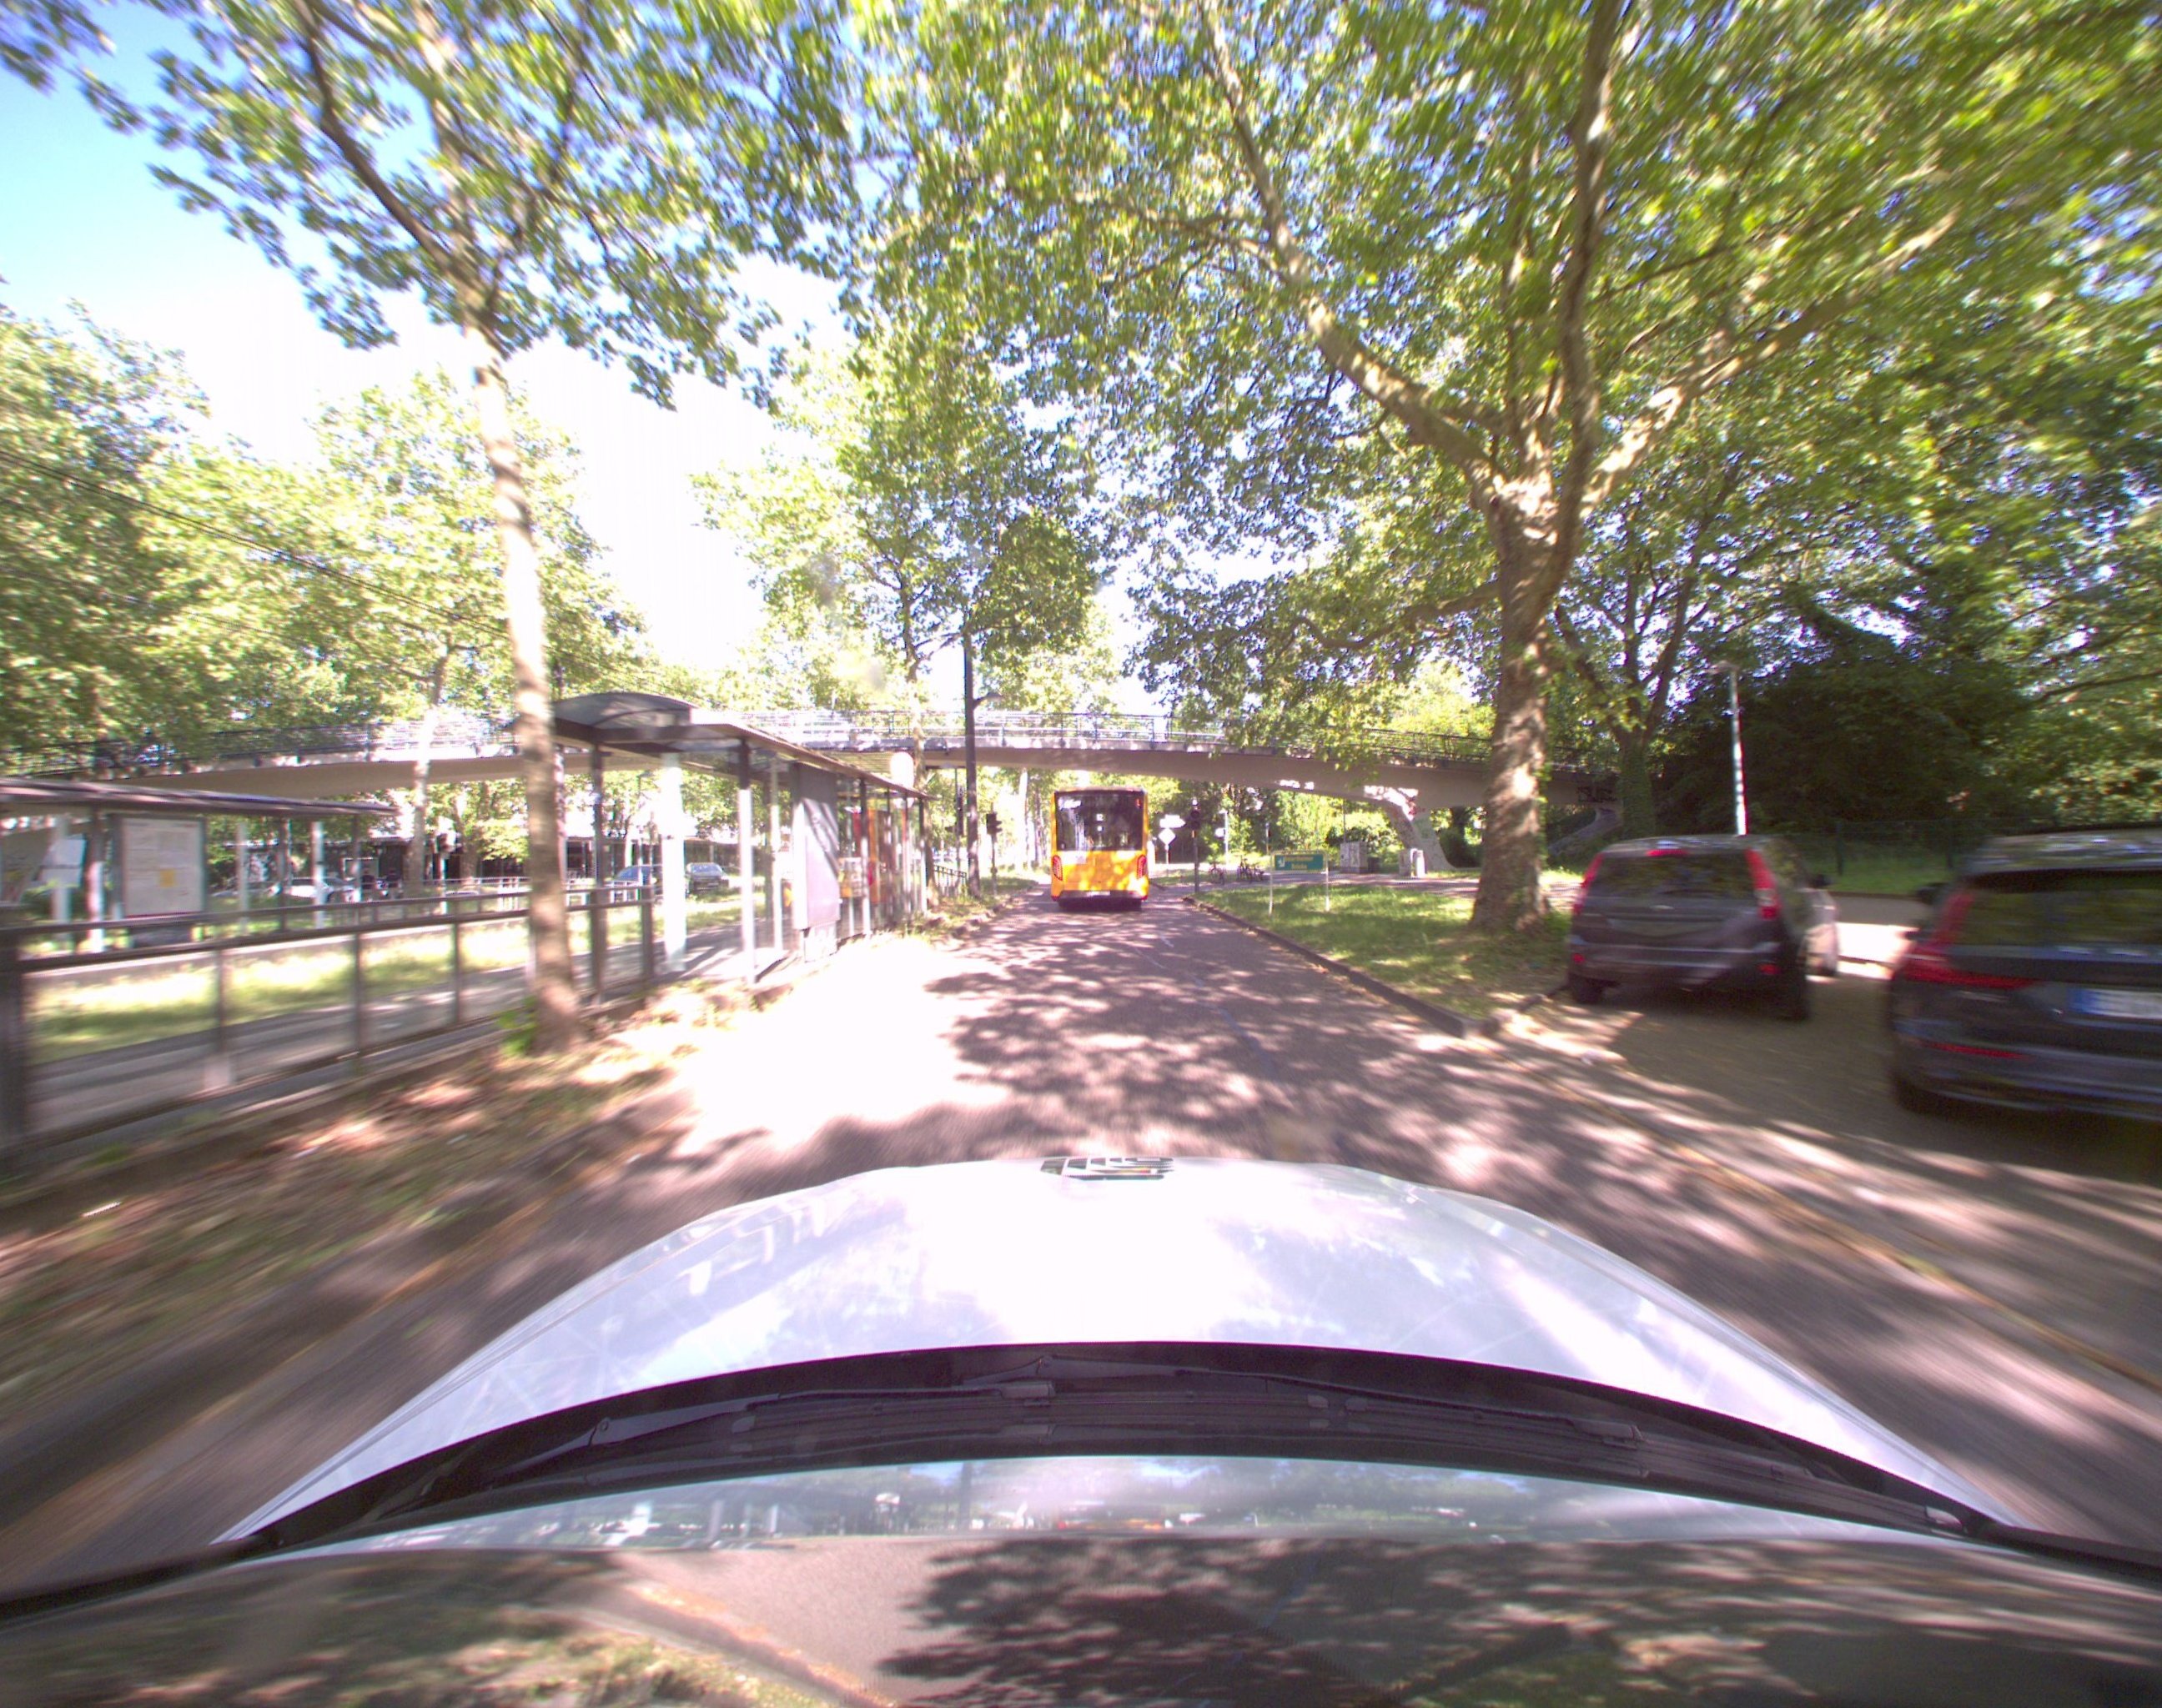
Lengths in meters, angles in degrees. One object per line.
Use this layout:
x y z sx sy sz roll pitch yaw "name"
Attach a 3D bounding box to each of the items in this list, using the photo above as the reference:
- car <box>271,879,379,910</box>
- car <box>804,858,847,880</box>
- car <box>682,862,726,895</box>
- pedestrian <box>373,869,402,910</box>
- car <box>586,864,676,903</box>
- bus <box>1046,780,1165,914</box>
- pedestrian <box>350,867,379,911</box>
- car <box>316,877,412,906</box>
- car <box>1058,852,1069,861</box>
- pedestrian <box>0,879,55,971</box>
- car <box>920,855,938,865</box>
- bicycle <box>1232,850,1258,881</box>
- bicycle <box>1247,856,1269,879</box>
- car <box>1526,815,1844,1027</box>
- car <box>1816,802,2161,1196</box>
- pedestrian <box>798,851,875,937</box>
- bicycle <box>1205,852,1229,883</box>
-42.031 2.238 45.344 4.069 1.510 1.796 -2 0 -6 "car"
-19.381 1.105 61.975 1.788 1.580 4.289 -2 0 1 "car"
-19.721 1.238 42.504 1.805 1.566 4.248 -2 0 -28 "car"
-29.557 1.497 34.701 0.642 1.705 0.653 -2 0 21 "pedestrian"
-20.228 1.285 36.801 1.790 1.566 4.283 -2 0 -3 "car"
0.615 -0.191 26.549 2.890 3.266 12.216 -2 0 0 "bus"
-29.836 1.466 33.918 0.642 1.783 0.653 -2 0 21 "pedestrian"
-43.183 2.226 49.089 3.981 1.510 1.797 -2 0 -6 "car"
-3.391 0.492 158.400 1.979 1.643 4.136 1 1 2 "car"
-15.036 0.981 11.242 0.775 1.238 0.722 -1 0 -1 "pedestrian"
-24.036 0.959 128.776 1.786 1.510 4.004 -2 0 4 "car"
6.703 0.445 33.325 0.588 1.182 1.800 -5 1 0 "bicycle"
7.279 0.556 33.517 0.503 0.852 1.473 -5 1 0 "bicycle"
6.040 0.461 7.947 4.024 1.461 1.778 -4 0 -44 "car"
5.793 0.494 4.604 4.279 1.461 1.779 -4 0 -40 "car"
-3.655 0.584 12.246 0.851 1.243 0.851 -1 0 2 "pedestrian"
5.561 0.543 33.286 0.588 1.182 1.800 -5 1 0 "bicycle"
